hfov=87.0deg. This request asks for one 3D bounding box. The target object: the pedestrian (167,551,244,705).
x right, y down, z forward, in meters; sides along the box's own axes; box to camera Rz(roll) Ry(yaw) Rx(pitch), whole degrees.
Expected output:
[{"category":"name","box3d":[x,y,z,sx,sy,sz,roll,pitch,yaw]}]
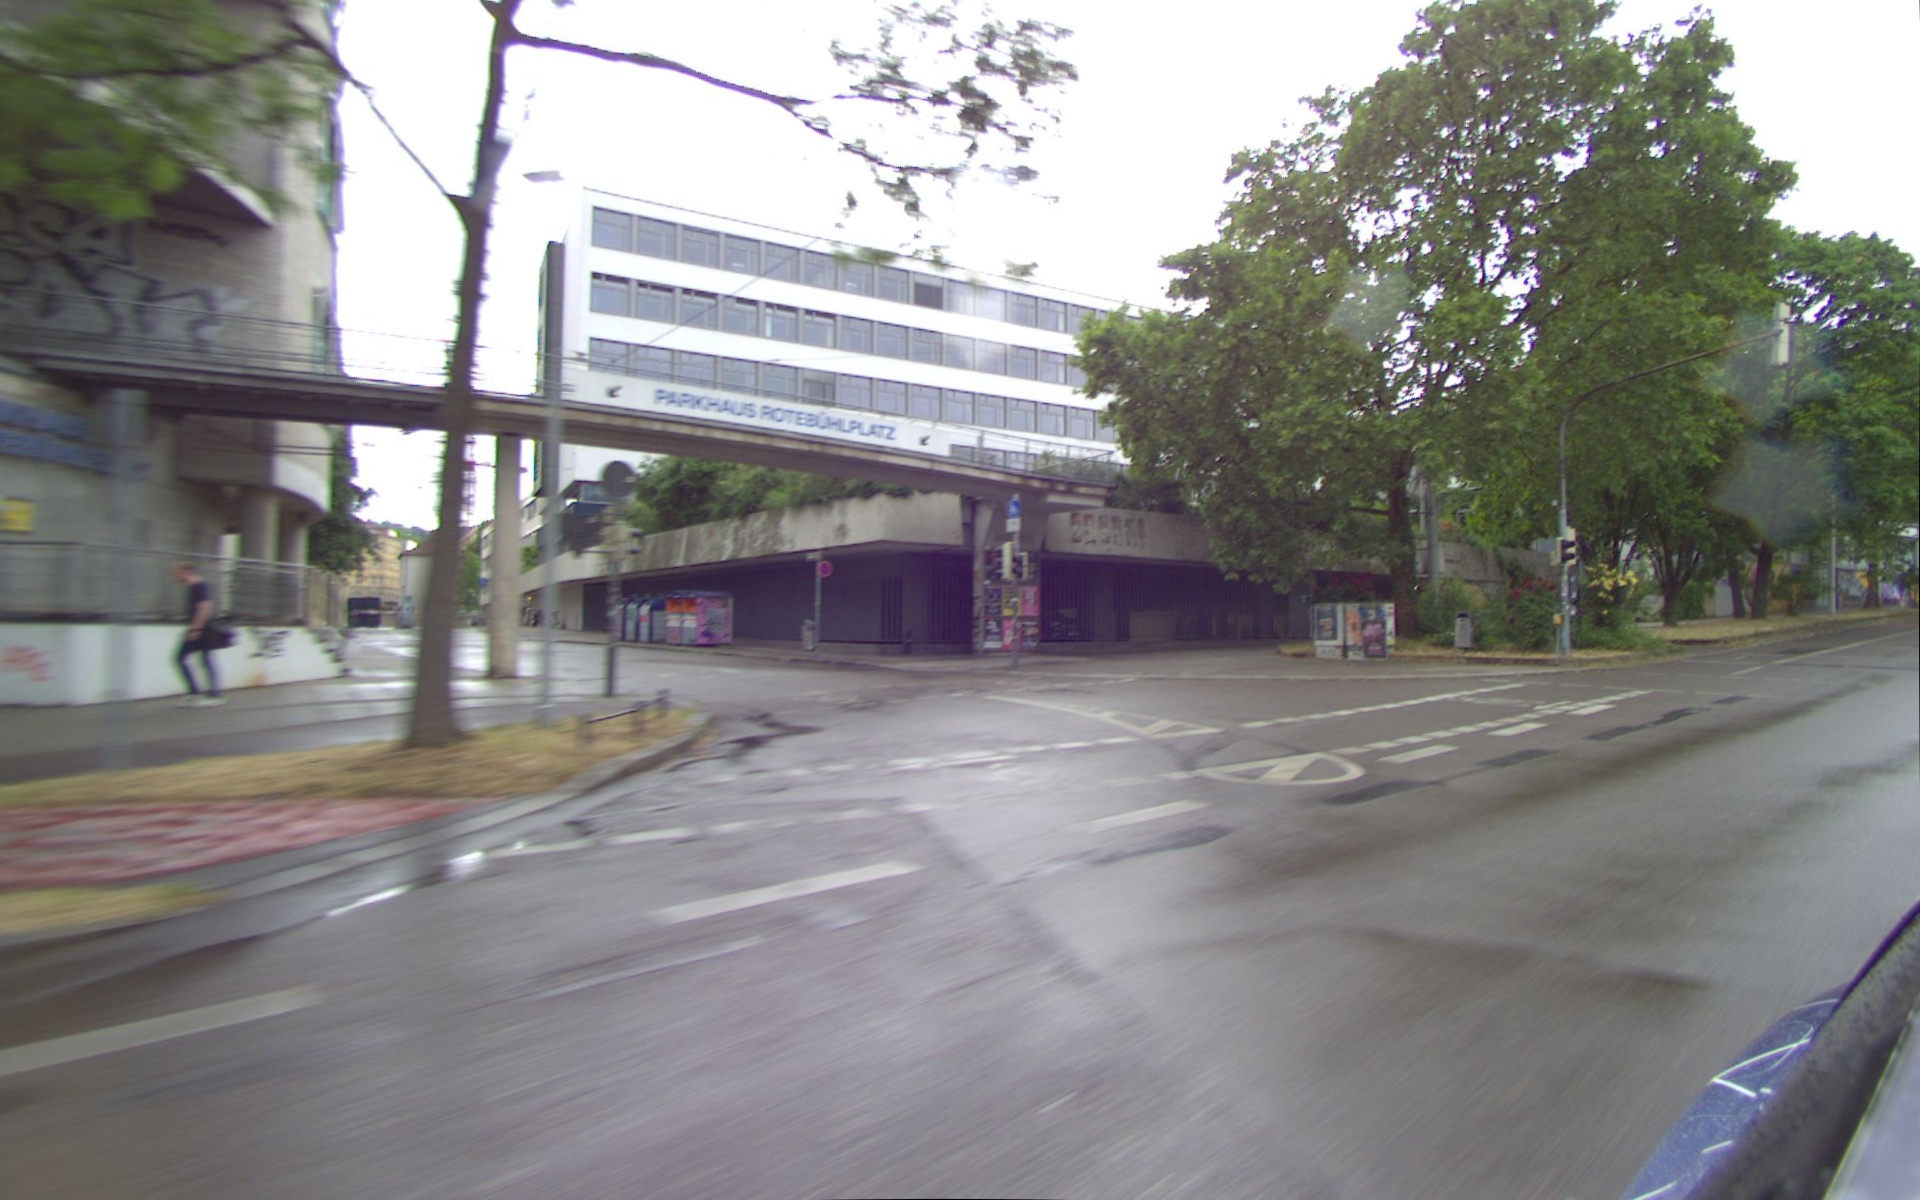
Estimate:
[{"category":"pedestrian","box3d":[-9.910,0.359,13.289,0.744,1.935,0.847,0,-1,-40]}]
